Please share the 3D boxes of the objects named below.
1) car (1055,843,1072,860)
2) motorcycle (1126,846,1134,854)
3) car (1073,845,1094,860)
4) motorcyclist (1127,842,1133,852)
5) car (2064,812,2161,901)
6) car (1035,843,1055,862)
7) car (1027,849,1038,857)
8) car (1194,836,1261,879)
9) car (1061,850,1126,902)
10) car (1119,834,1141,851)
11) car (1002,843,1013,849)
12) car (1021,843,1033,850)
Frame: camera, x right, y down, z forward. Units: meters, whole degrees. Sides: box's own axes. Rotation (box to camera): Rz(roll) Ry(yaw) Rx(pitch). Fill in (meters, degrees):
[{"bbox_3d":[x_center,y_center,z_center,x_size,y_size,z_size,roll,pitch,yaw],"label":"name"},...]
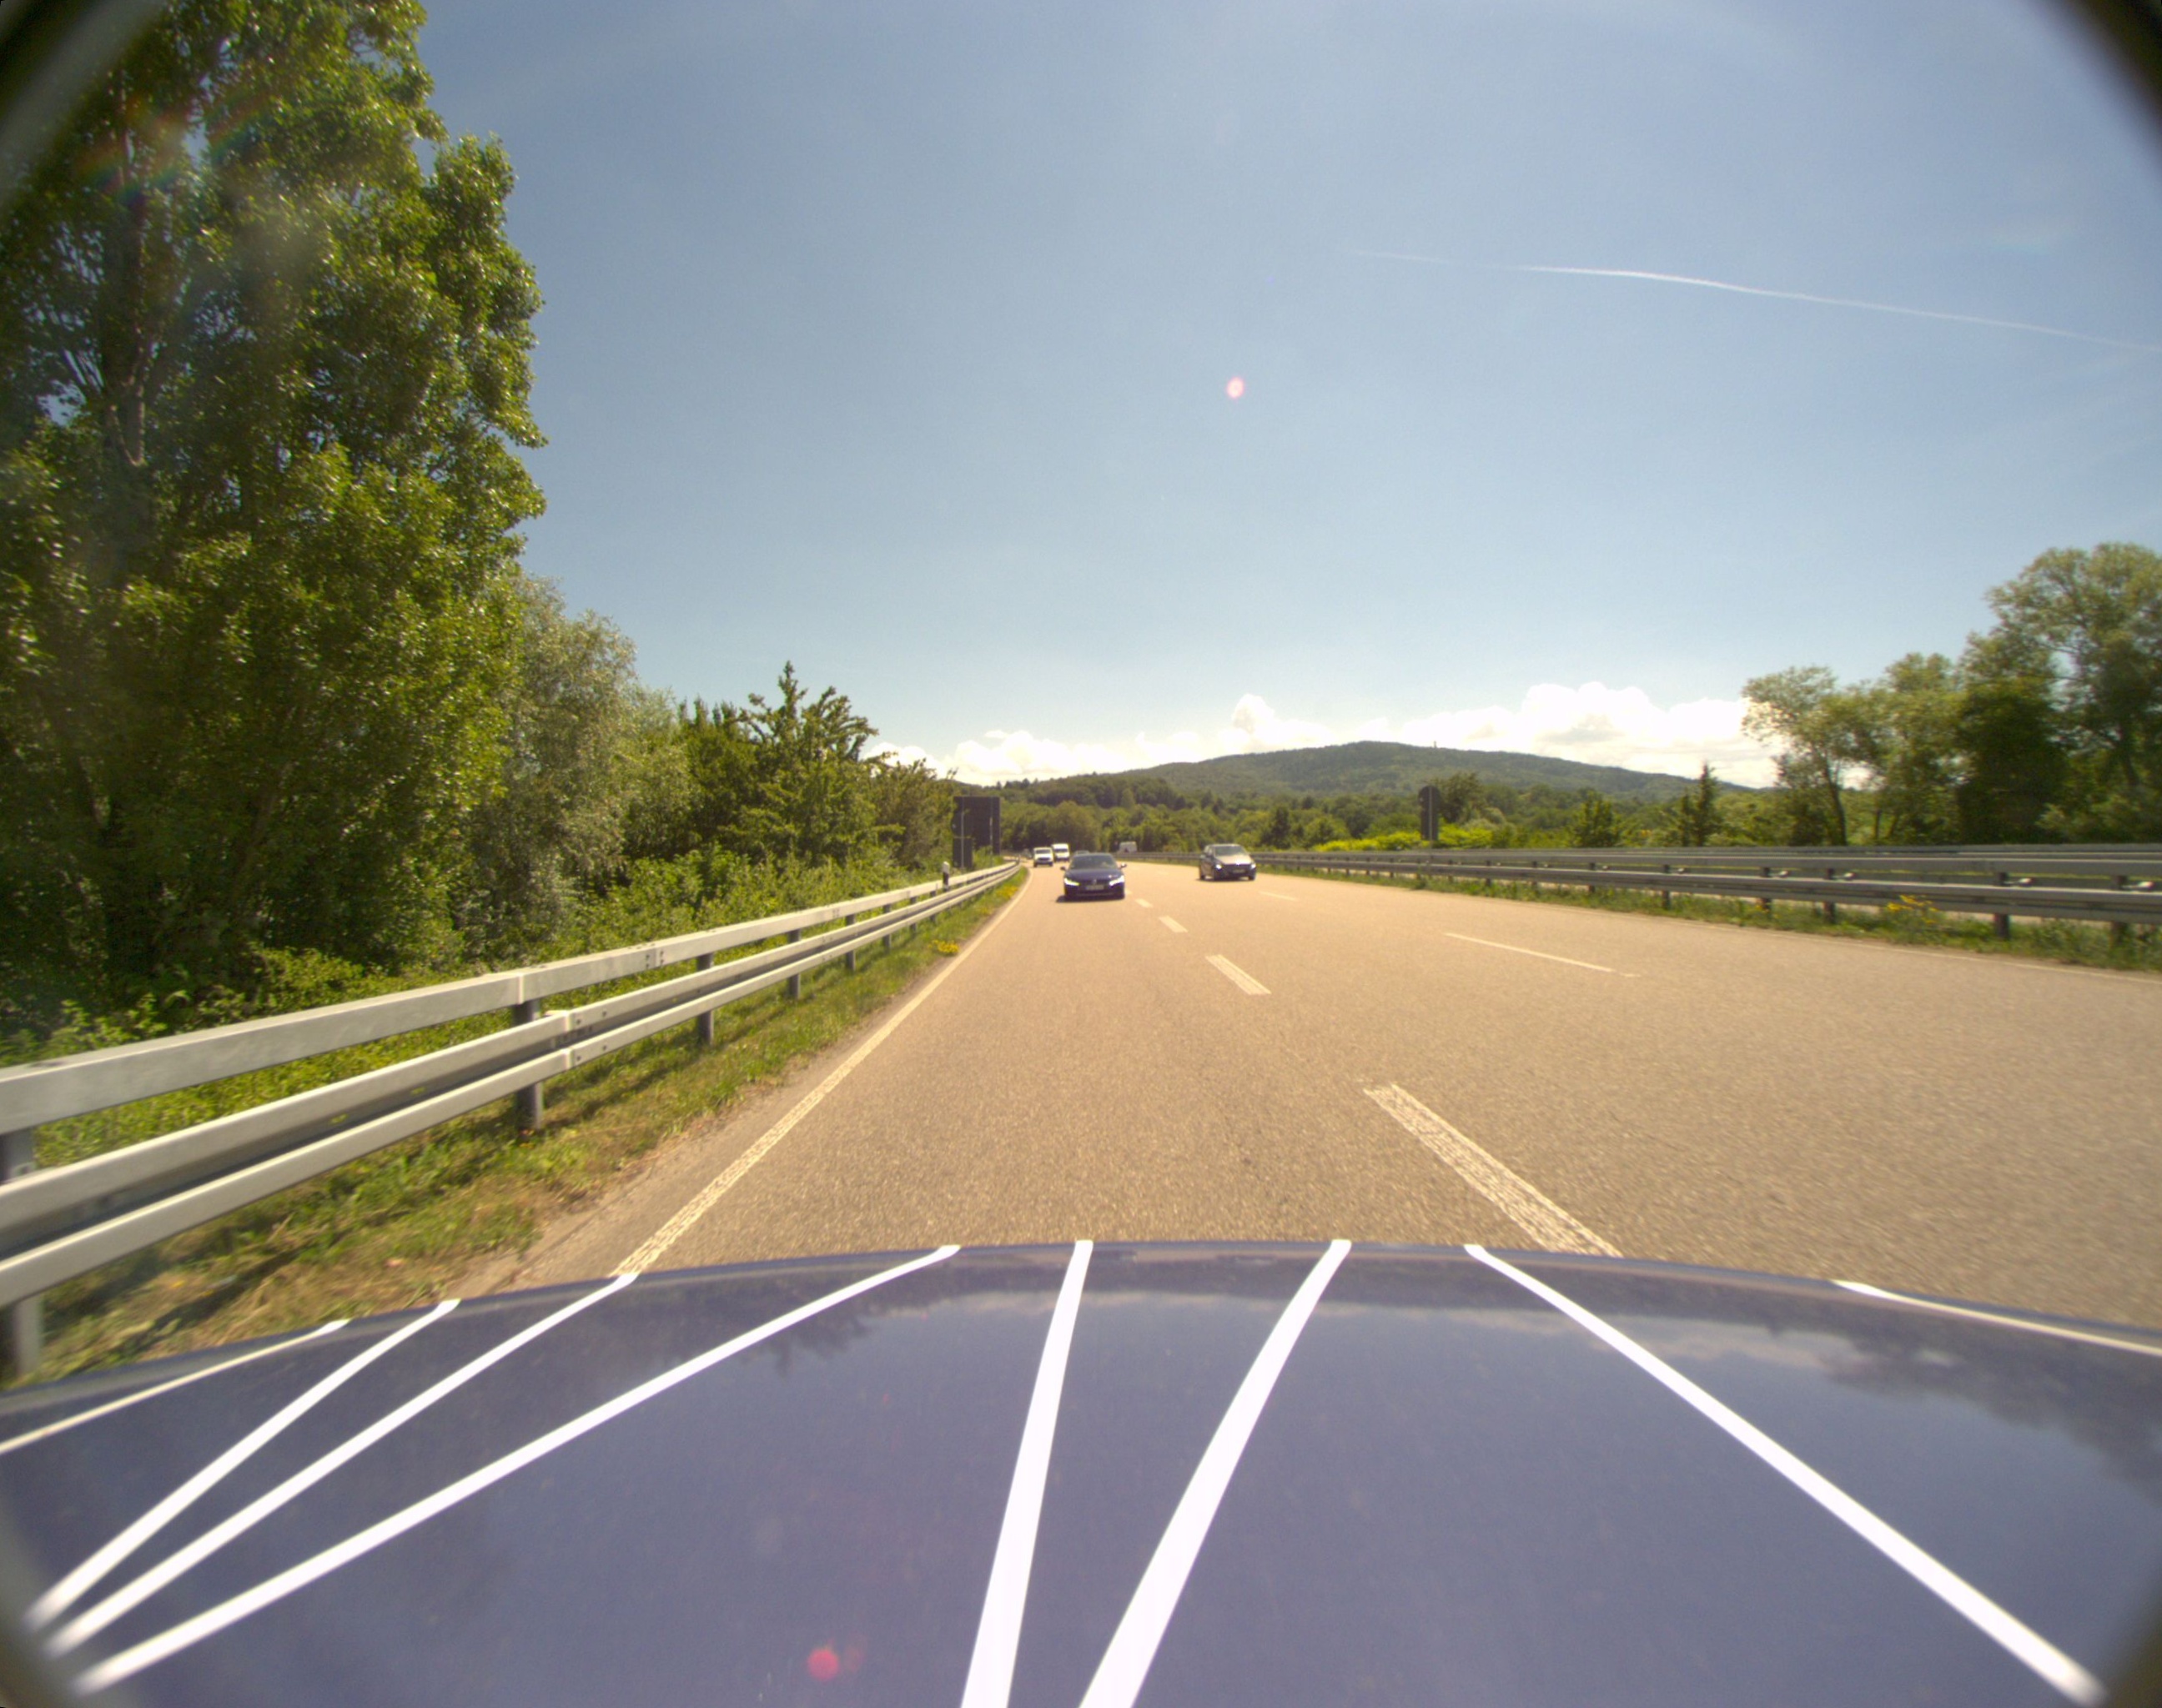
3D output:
[{"bbox_3d":[-2.277,-0.352,101.391,2.008,1.988,4.578,-2,2,2],"label":"car"},{"bbox_3d":[7.065,-0.605,110.070,0.793,1.137,2.527,-1,2,-3],"label":"motorcycle"},{"bbox_3d":[0.192,-0.197,76.960,1.846,1.400,4.467,-2,1,-3],"label":"car"},{"bbox_3d":[7.046,-0.997,110.047,0.793,1.426,0.767,-1,2,-3],"label":"motorcyclist"},{"bbox_3d":[18.272,0.043,10.990,1.858,1.424,4.793,-1,1,-1],"label":"car"},{"bbox_3d":[-3.739,-0.188,79.138,1.885,1.724,4.466,-2,2,-4],"label":"car"},{"bbox_3d":[-10.397,-0.175,162.969,1.877,1.594,3.994,-2,2,-12],"label":"car"},{"bbox_3d":[6.307,0.081,33.199,1.798,1.658,4.551,-3,2,-3],"label":"car"},{"bbox_3d":[0.465,0.622,24.324,1.845,1.400,4.470,-3,1,3],"label":"car"},{"bbox_3d":[8.188,-1.962,128.223,2.286,2.758,7.214,-2,2,-8],"label":"car"},{"bbox_3d":[-25.233,-2.743,261.631,2.214,1.882,4.901,-2,2,-25],"label":"car"},{"bbox_3d":[-15.999,-2.154,225.217,2.213,1.882,4.902,-2,2,-22],"label":"car"}]
